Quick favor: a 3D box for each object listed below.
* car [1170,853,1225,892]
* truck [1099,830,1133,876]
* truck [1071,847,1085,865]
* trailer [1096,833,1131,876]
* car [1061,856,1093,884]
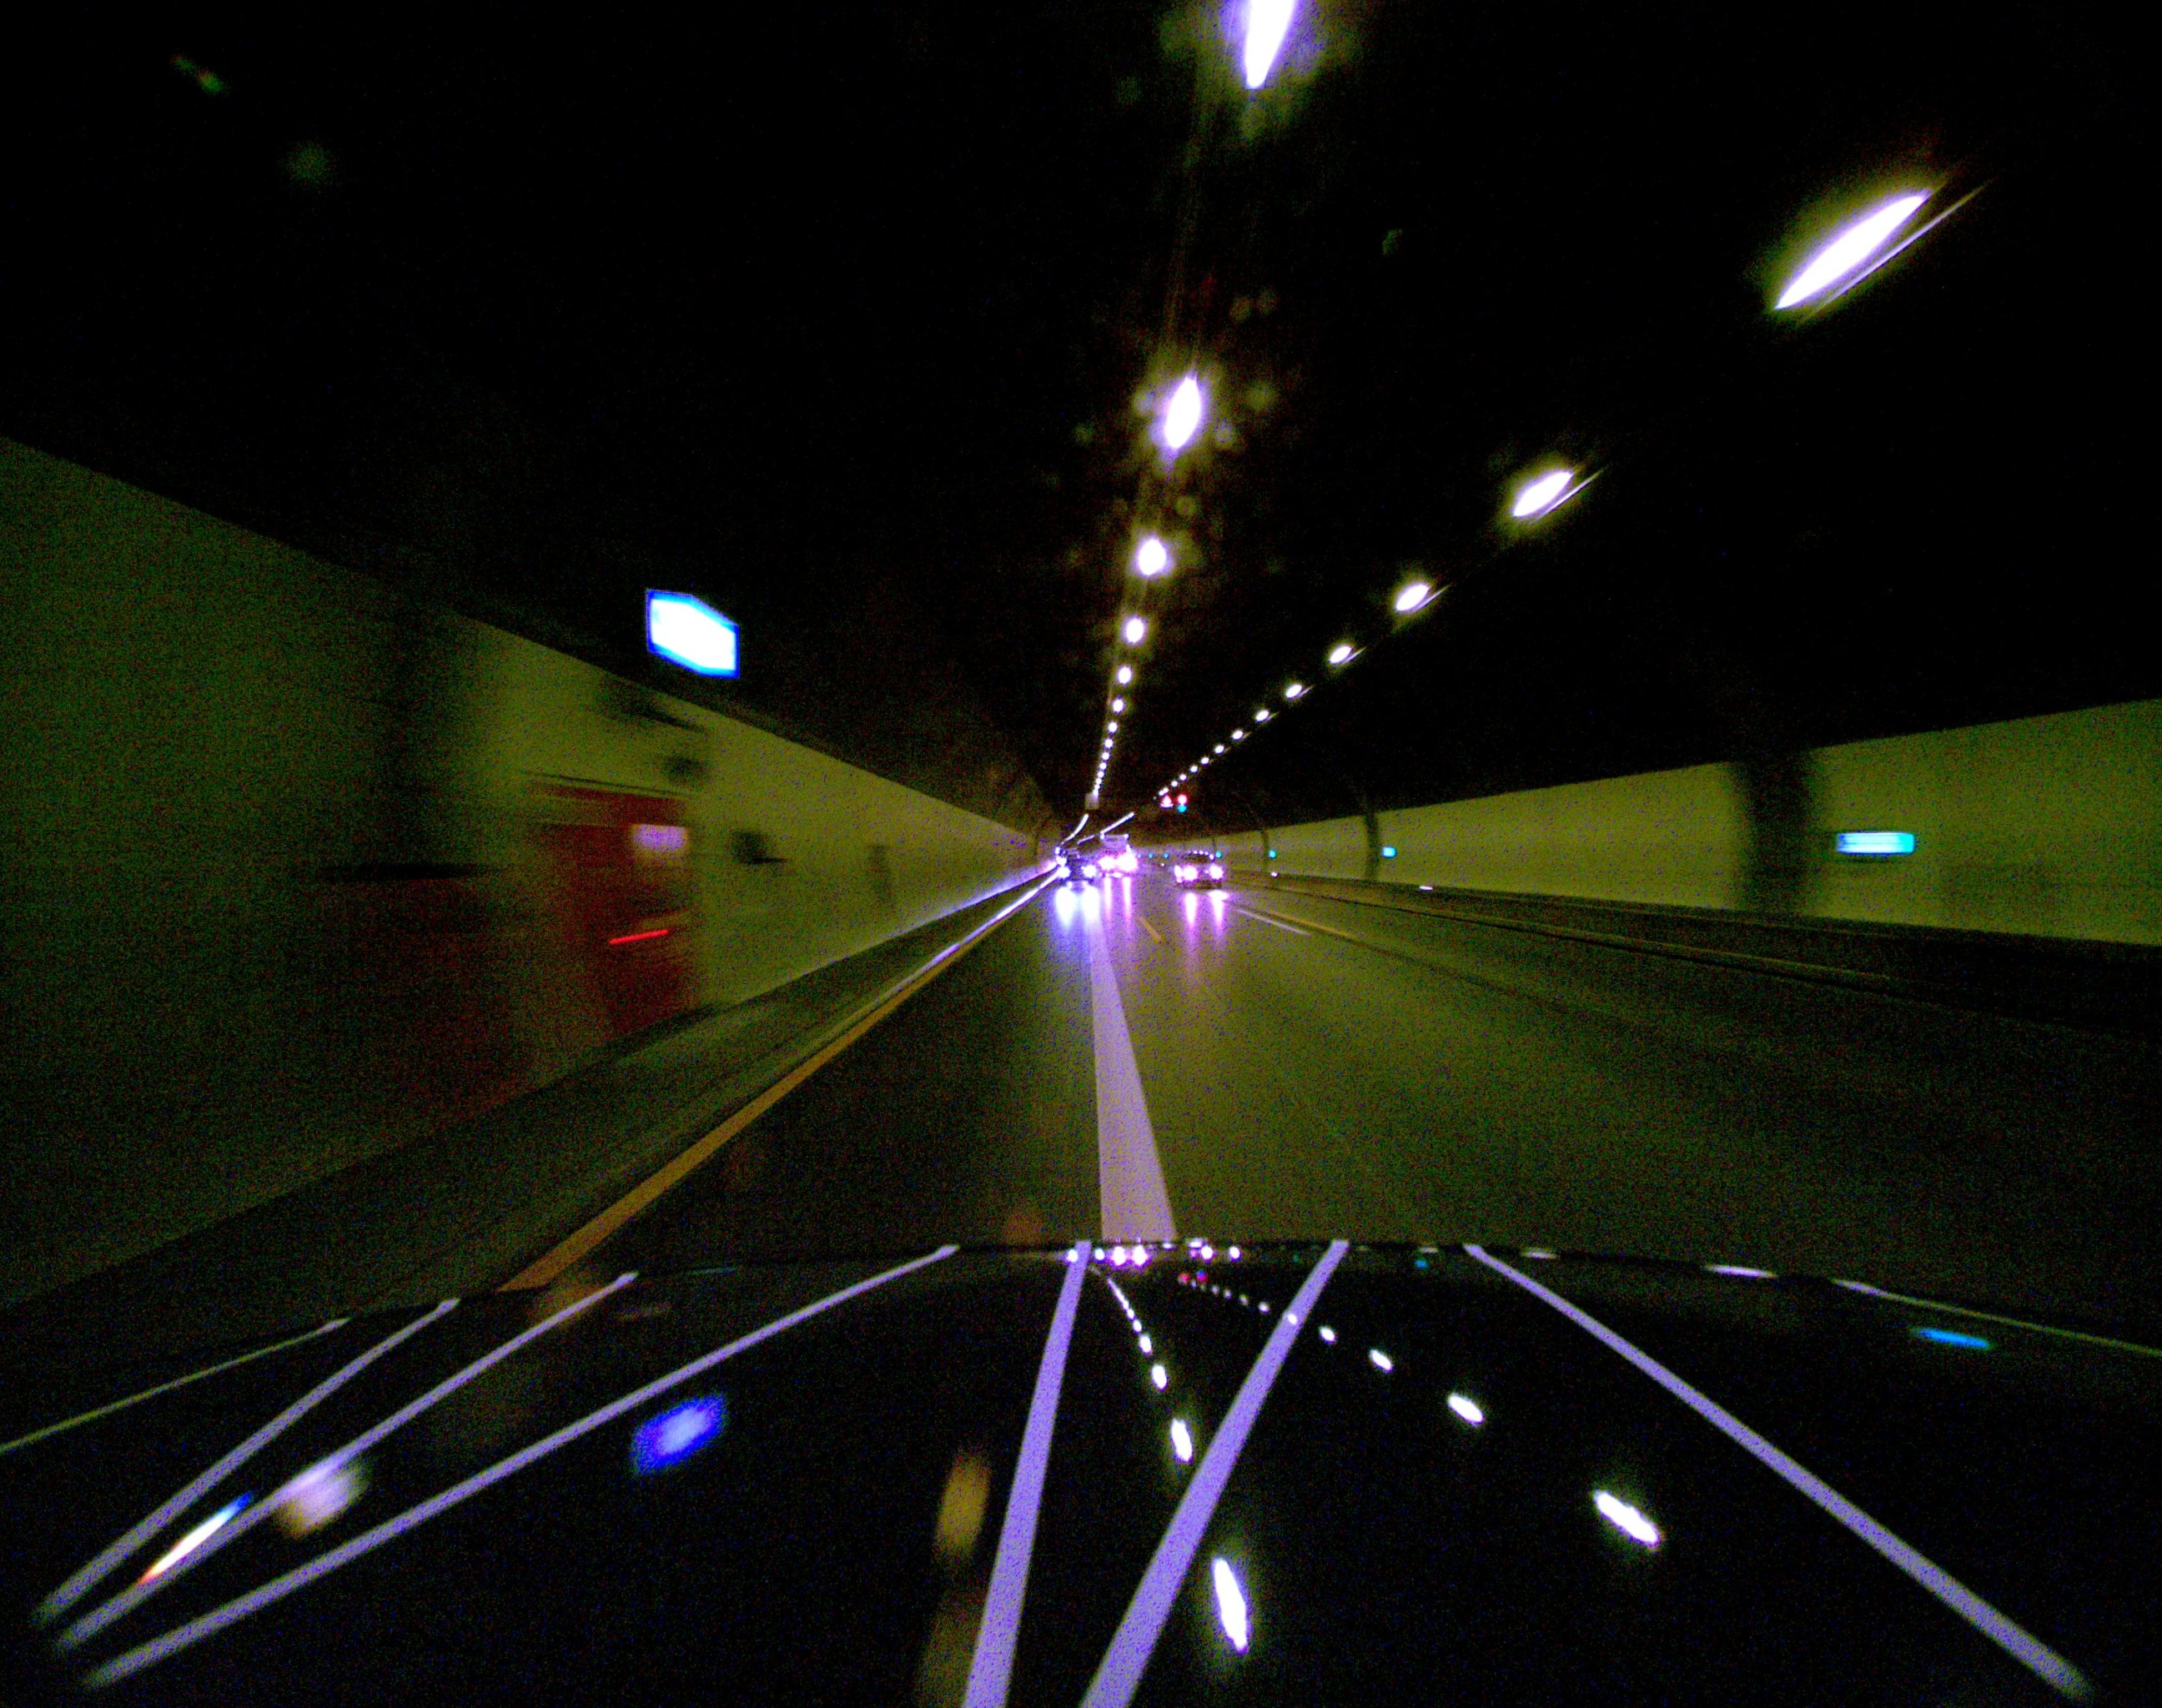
[{"bbox_3d":[5.112,0.770,33.875,1.766,1.563,4.097,-2,1,0],"label":"car"},{"bbox_3d":[2.693,-0.082,59.159,2.374,3.328,4.719,-4,0,2],"label":"truck"},{"bbox_3d":[-0.549,0.350,125.206,2.151,2.608,9.907,-2,-1,-1],"label":"truck"},{"bbox_3d":[2.691,0.005,65.597,2.374,3.328,12.077,0,0,0],"label":"trailer"},{"bbox_3d":[-0.199,0.914,44.017,1.728,1.474,4.000,-2,0,1],"label":"car"}]
